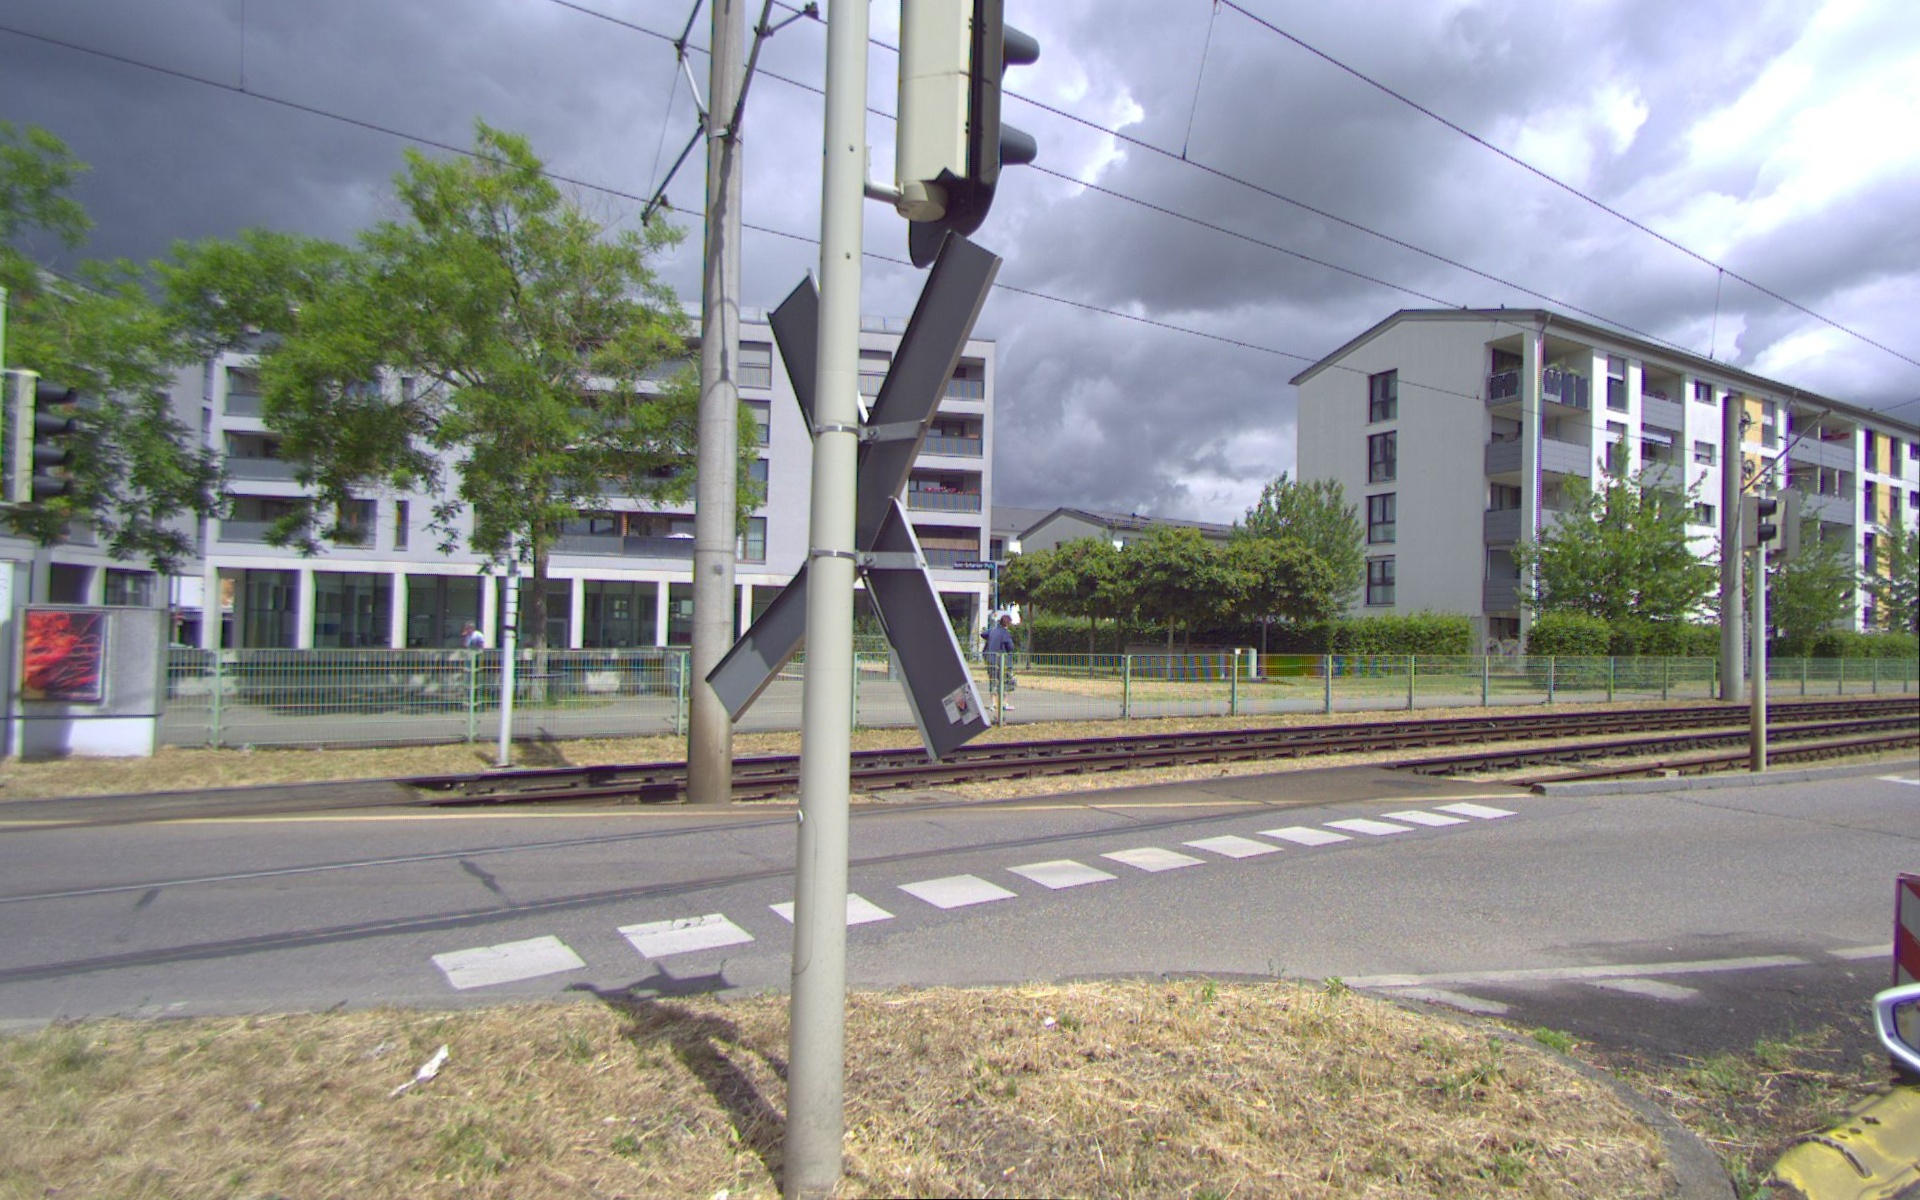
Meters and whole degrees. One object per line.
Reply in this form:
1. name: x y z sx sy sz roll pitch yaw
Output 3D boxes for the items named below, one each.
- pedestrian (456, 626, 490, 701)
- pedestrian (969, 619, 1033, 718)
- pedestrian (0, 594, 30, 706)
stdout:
1. pedestrian: -10.368 1.341 21.393 0.519 1.567 0.545 0 -2 -10
2. pedestrian: 0.715 1.181 17.540 0.858 1.683 0.747 0 -2 -27
3. pedestrian: -14.047 0.728 14.629 0.550 1.593 0.621 0 -2 -25
